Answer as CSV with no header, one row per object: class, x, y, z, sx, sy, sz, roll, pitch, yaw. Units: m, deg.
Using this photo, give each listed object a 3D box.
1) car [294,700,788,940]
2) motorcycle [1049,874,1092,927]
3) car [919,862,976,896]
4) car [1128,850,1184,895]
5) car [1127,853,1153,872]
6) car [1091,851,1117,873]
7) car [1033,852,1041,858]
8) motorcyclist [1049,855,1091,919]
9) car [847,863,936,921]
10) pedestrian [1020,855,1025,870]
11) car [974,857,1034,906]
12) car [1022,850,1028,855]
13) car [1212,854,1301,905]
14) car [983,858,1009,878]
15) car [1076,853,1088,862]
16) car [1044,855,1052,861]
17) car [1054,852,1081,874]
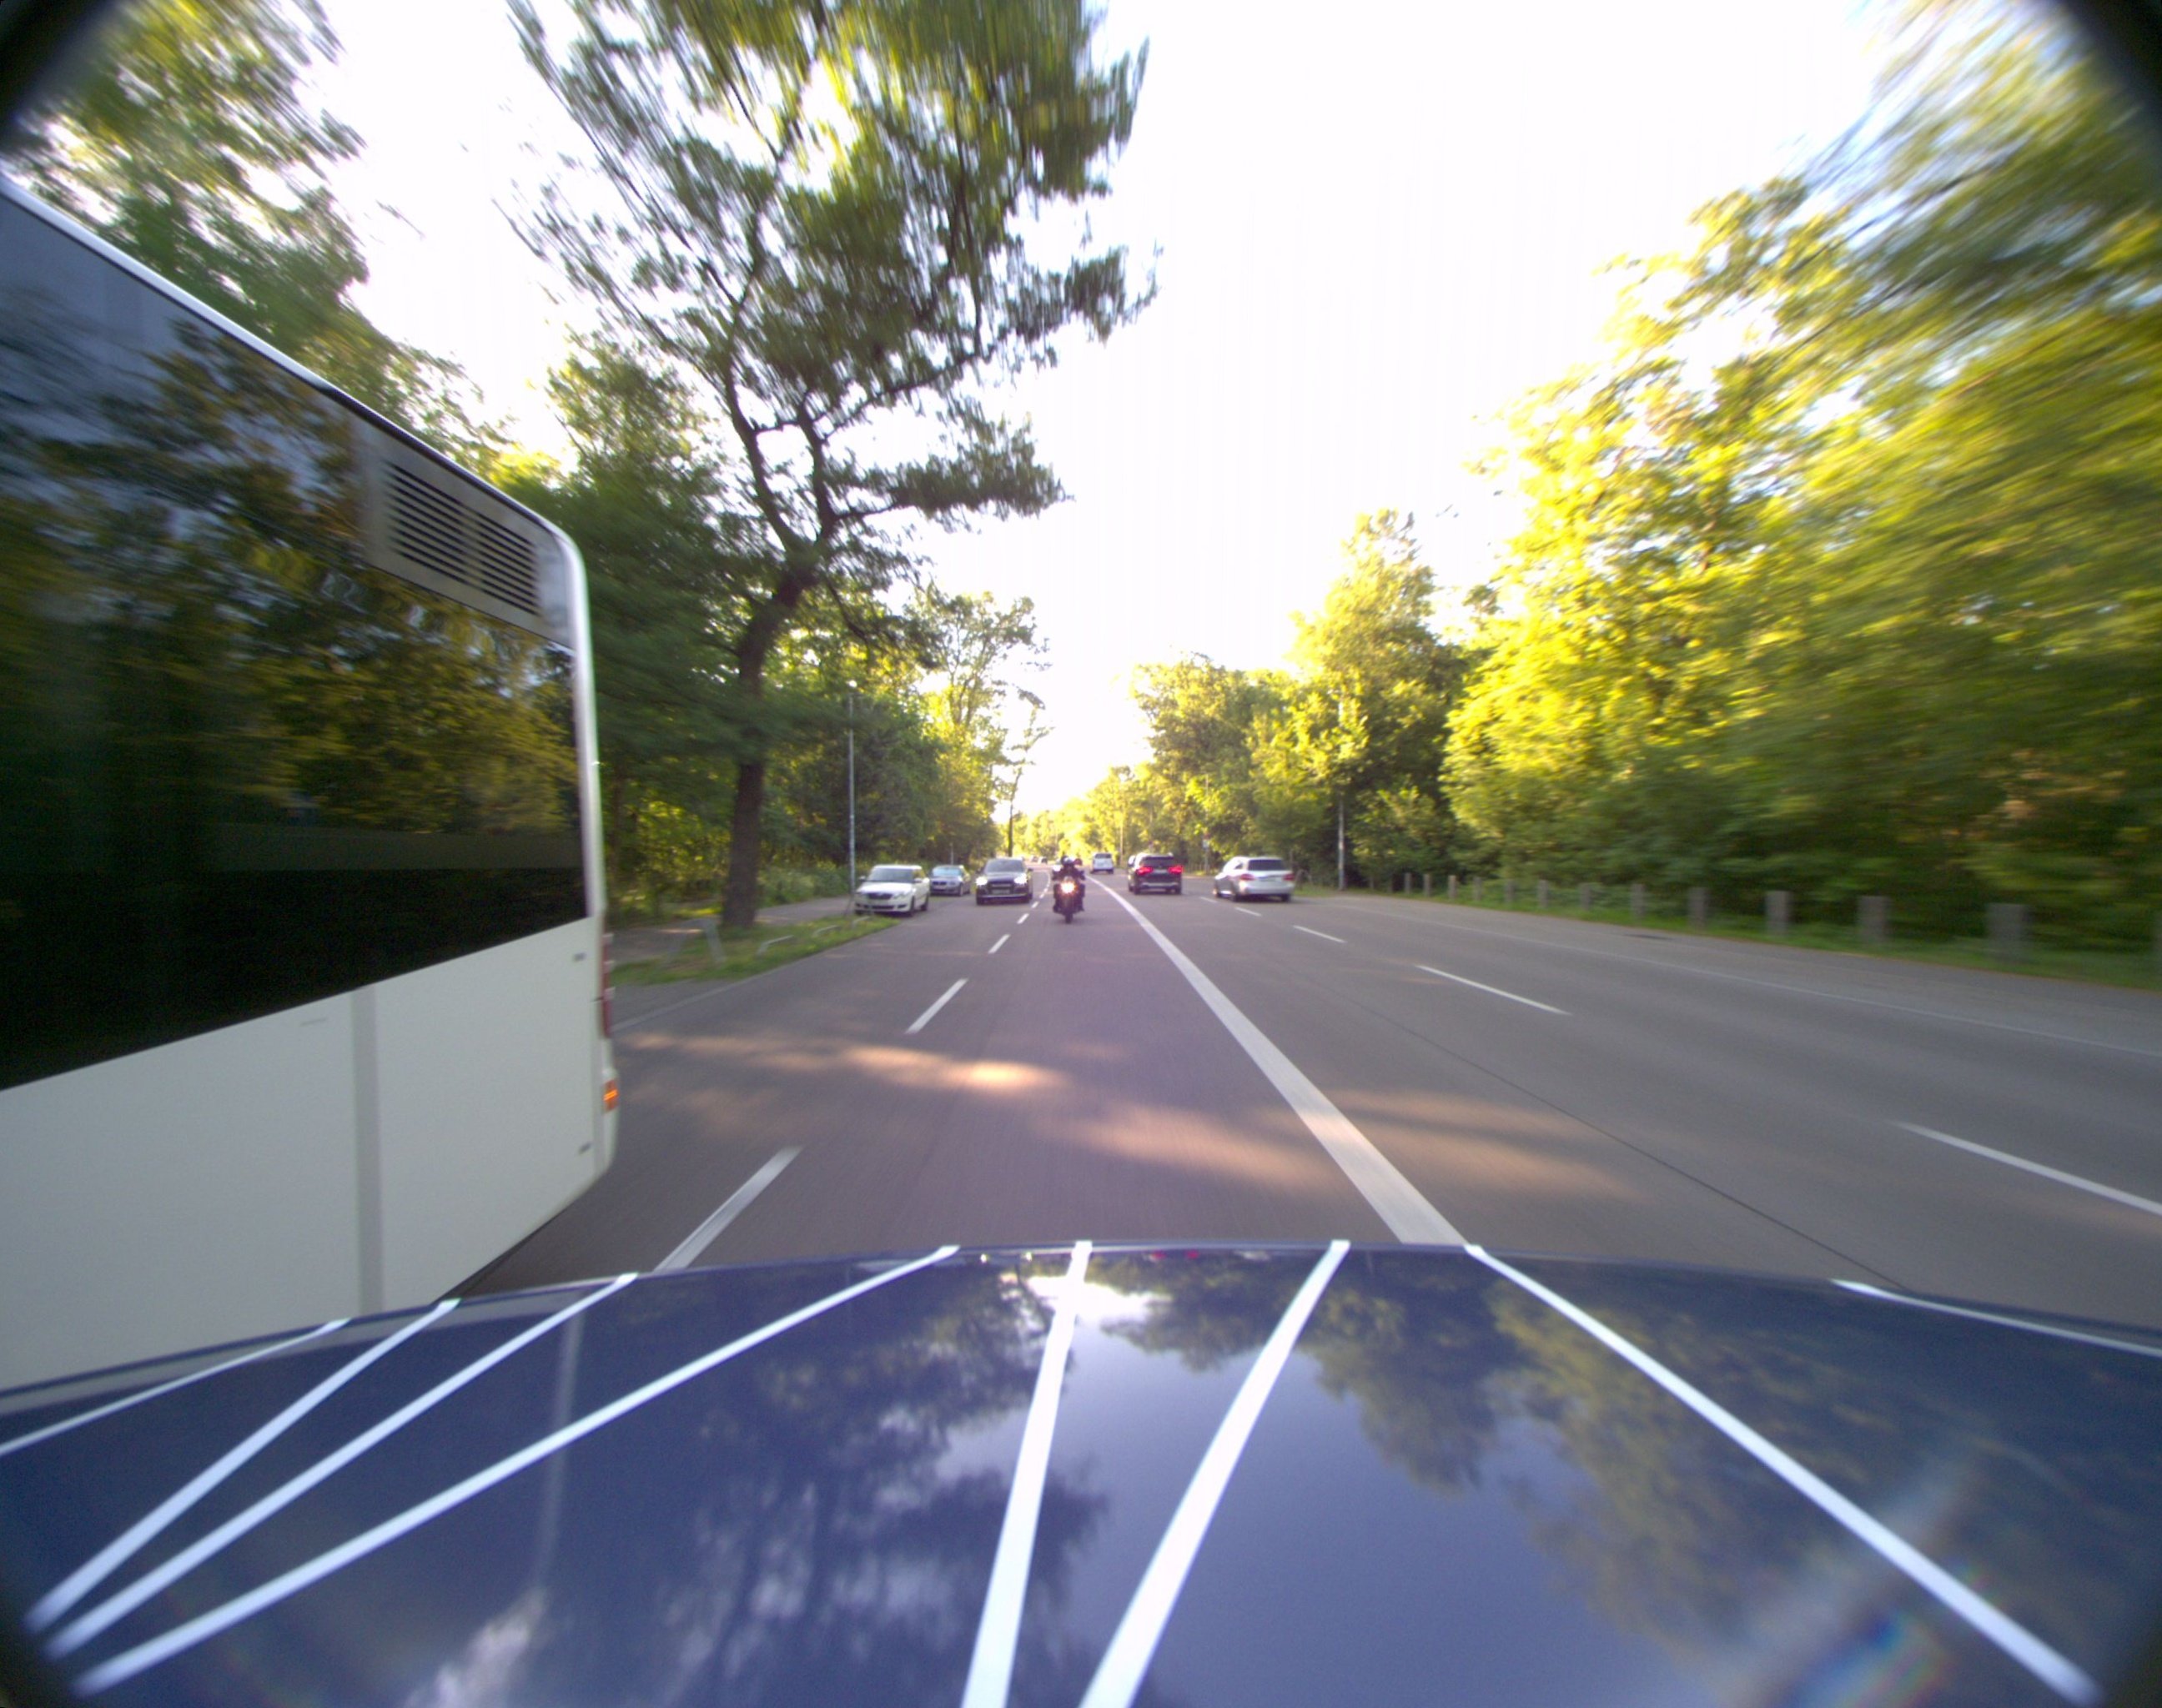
car,-4.420,-0.267,7.211,1.999,1.548,4.095,-3,1,-6
motorcycle,-0.226,1.137,19.440,0.956,1.098,3.339,-3,0,1
car,-6.097,1.111,35.193,1.857,1.384,4.521,2,0,0
car,3.023,0.717,31.408,1.923,1.694,4.442,-1,0,1
car,5.187,0.719,67.196,1.805,1.590,3.999,-1,0,-1
car,2.084,0.738,70.846,2.212,1.949,4.912,-1,0,-1
car,-11.814,0.280,203.262,1.912,1.746,4.797,0,0,-6
motorcyclist,-0.260,0.813,19.114,0.953,1.523,1.074,-2,1,1
car,-5.644,1.081,23.140,1.732,1.502,4.169,1,0,-1
pedestrian,-6.872,0.986,89.383,0.513,1.746,0.734,0,0,-17
car,-2.807,0.977,28.336,1.861,1.608,3.999,-2,0,-1
car,-18.960,-0.349,255.986,1.999,1.649,4.446,-1,0,-6
car,5.799,0.780,25.711,1.903,1.523,4.528,-1,0,-1
car,-6.479,1.041,58.108,1.740,1.384,3.944,-1,0,-3
car,0.184,0.630,131.150,1.828,1.454,4.923,-1,0,-4
car,-7.886,0.941,179.788,1.810,1.536,4.088,-1,0,-4
car,-1.112,0.757,65.590,1.998,1.761,4.232,-1,0,3
